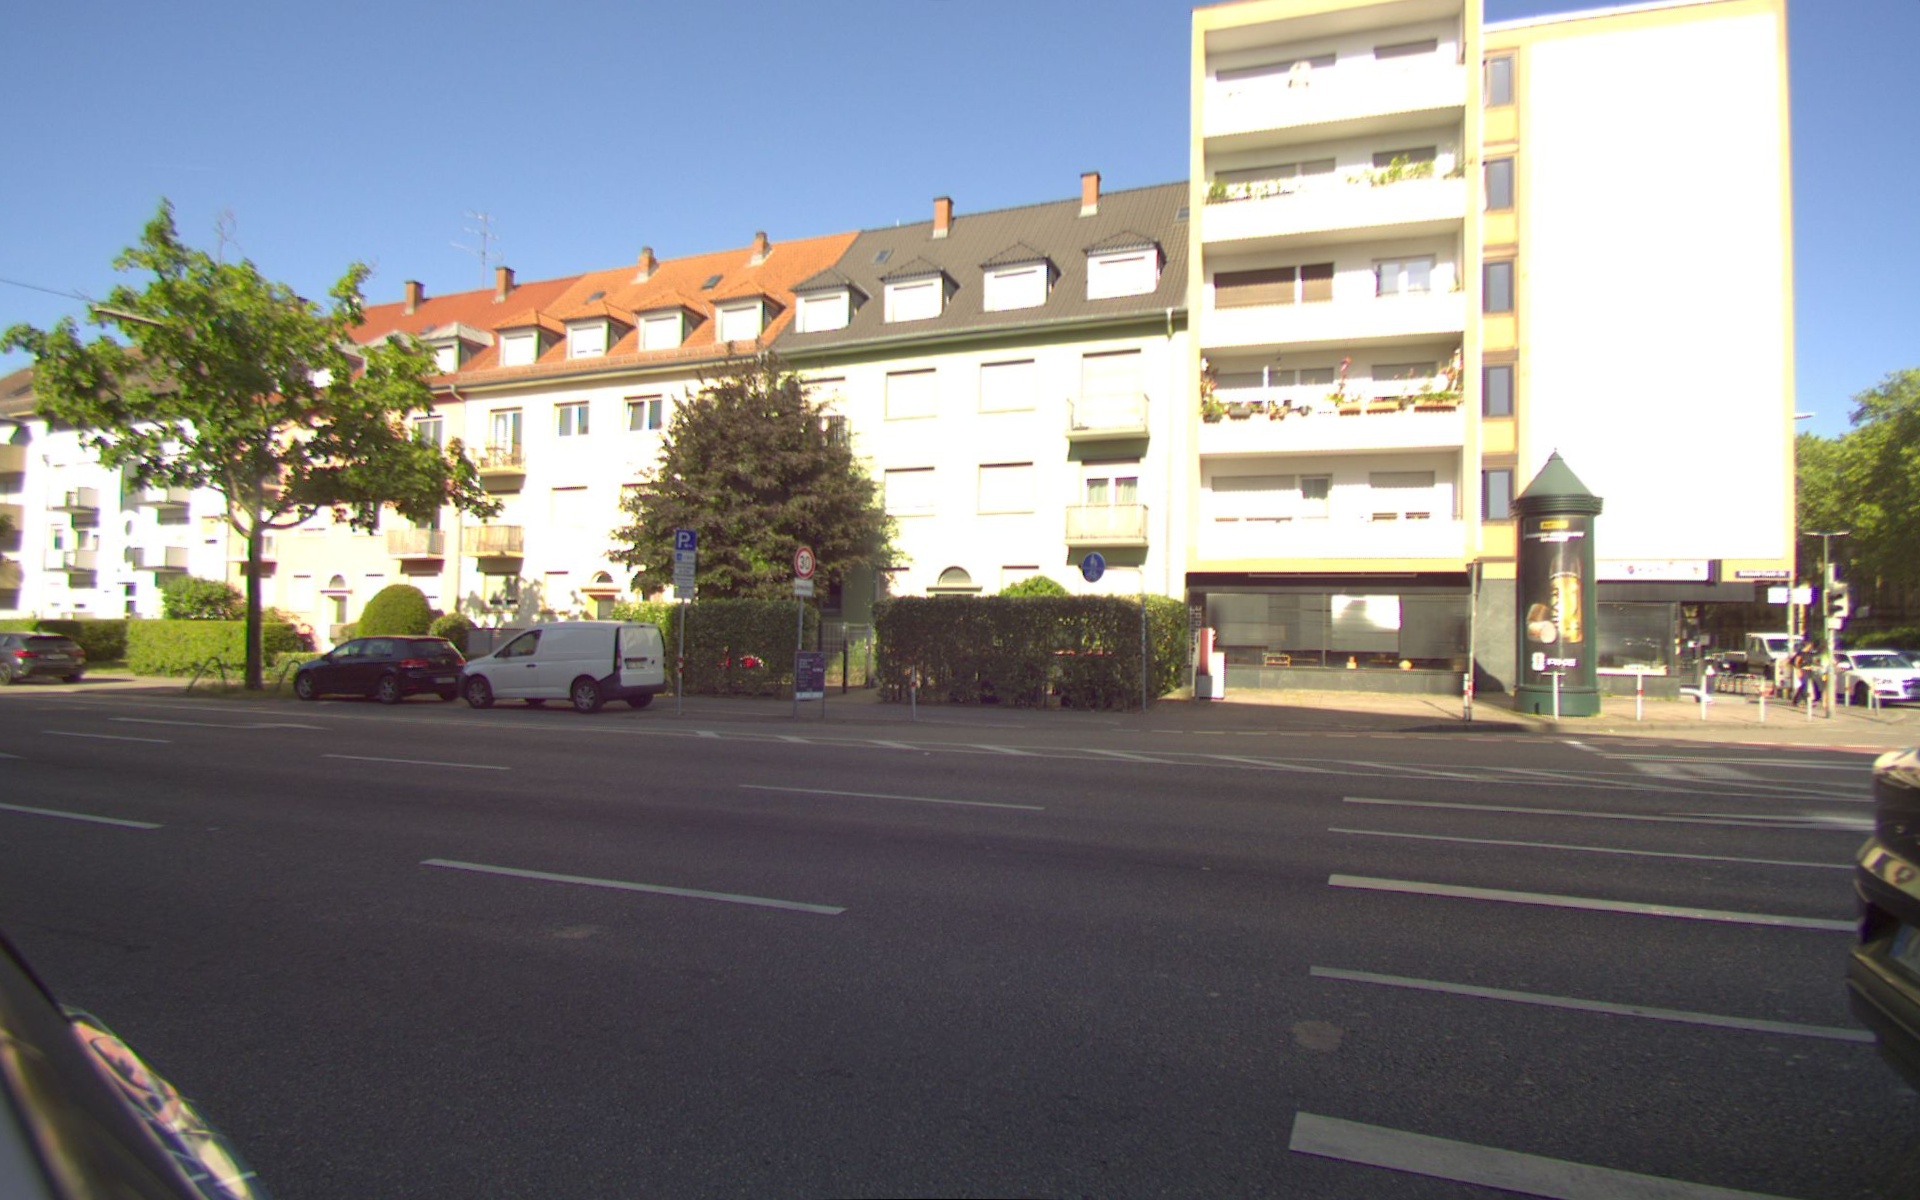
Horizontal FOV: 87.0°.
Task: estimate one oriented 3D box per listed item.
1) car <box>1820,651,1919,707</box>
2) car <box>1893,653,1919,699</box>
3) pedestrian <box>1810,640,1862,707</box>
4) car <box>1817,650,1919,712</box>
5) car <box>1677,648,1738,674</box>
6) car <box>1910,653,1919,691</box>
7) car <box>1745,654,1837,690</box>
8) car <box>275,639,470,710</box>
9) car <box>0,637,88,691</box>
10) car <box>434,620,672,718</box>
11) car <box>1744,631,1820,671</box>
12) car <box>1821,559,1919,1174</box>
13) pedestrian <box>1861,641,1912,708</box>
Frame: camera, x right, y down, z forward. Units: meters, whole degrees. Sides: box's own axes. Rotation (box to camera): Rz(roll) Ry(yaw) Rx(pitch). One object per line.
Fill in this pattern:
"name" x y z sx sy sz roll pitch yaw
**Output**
"car" 26.979 2.263 29.541 1.601 1.527 3.627 0 -3 19
"car" 31.880 2.441 32.192 1.831 1.466 3.628 0 -3 18
"pedestrian" 22.072 1.845 25.507 0.542 1.640 0.802 1 -3 -4
"car" 24.521 2.096 26.725 1.601 1.527 3.627 0 -3 19
"car" 44.090 3.586 59.764 1.831 1.466 3.628 0 -3 18
"car" 37.722 2.733 37.817 1.831 1.466 3.628 0 -3 18
"car" 35.890 3.100 43.830 1.831 1.466 3.628 0 -3 18
"car" -13.164 1.614 22.679 4.084 1.468 1.664 -1 -2 23
"car" -26.664 1.744 28.089 4.331 1.419 1.762 -1 -2 19
"car" -8.411 1.361 20.954 4.528 1.848 1.812 0 -2 20
"car" 41.777 2.589 51.529 1.754 1.933 3.628 0 -3 18
"car" 4.091 0.654 1.520 3.814 1.590 1.822 -1 -3 23
"pedestrian" 22.981 1.844 25.110 0.542 1.622 0.691 1 -3 -4
